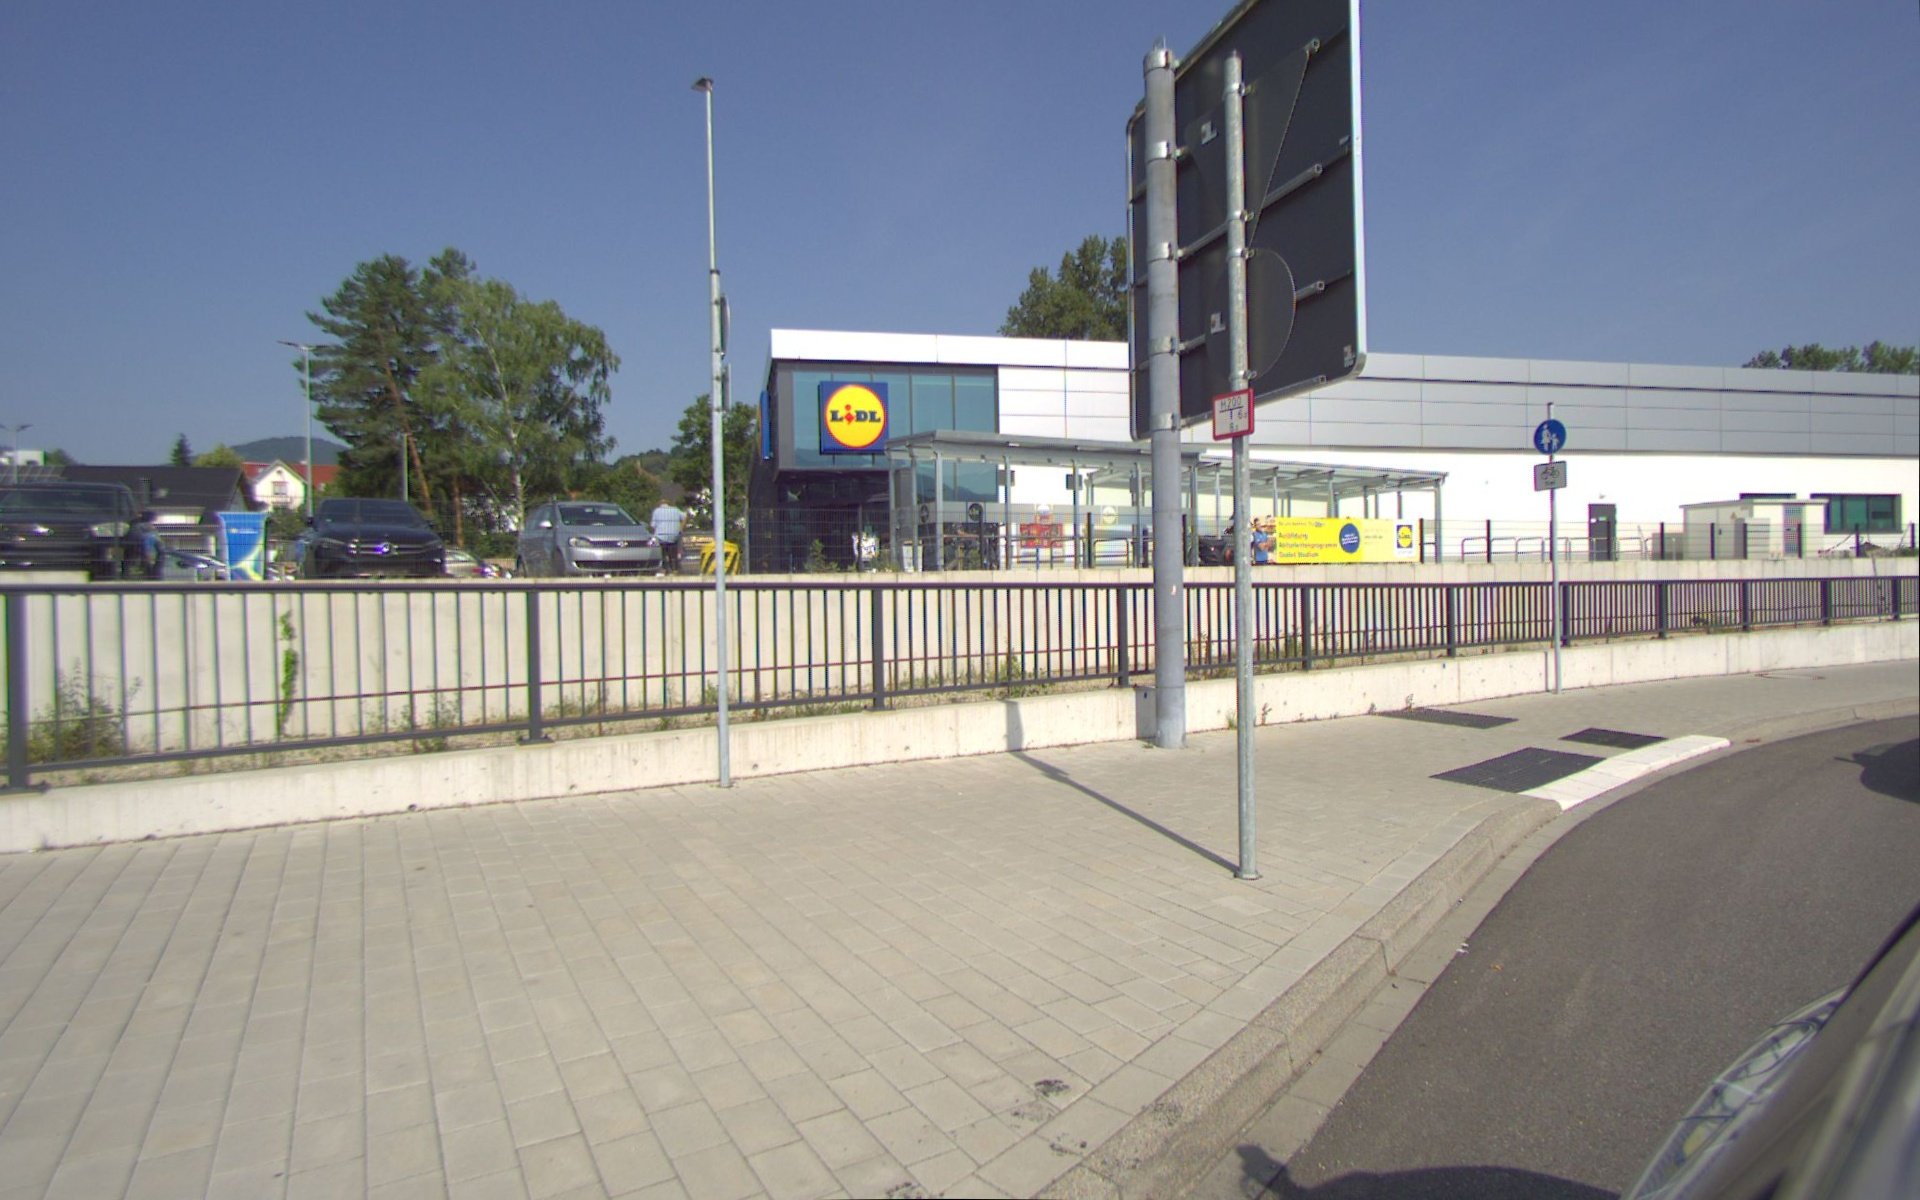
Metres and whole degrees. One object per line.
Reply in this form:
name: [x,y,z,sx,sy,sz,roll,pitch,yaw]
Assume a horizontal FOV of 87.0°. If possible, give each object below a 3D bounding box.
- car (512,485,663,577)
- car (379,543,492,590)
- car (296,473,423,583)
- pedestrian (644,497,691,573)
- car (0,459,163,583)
car: [-6.752,-1.145,18.128,1.649,1.381,3.818,-1,0,-34]
car: [-19.482,-1.255,37.620,3.558,1.650,1.603,-3,2,-32]
car: [-9.545,-1.029,15.952,1.457,1.422,4.075,-1,0,-34]
pedestrian: [-5.286,-1.169,18.299,0.644,1.328,0.549,-2,1,-32]
car: [-12.360,-0.990,14.078,1.692,1.422,4.018,-1,0,-34]
